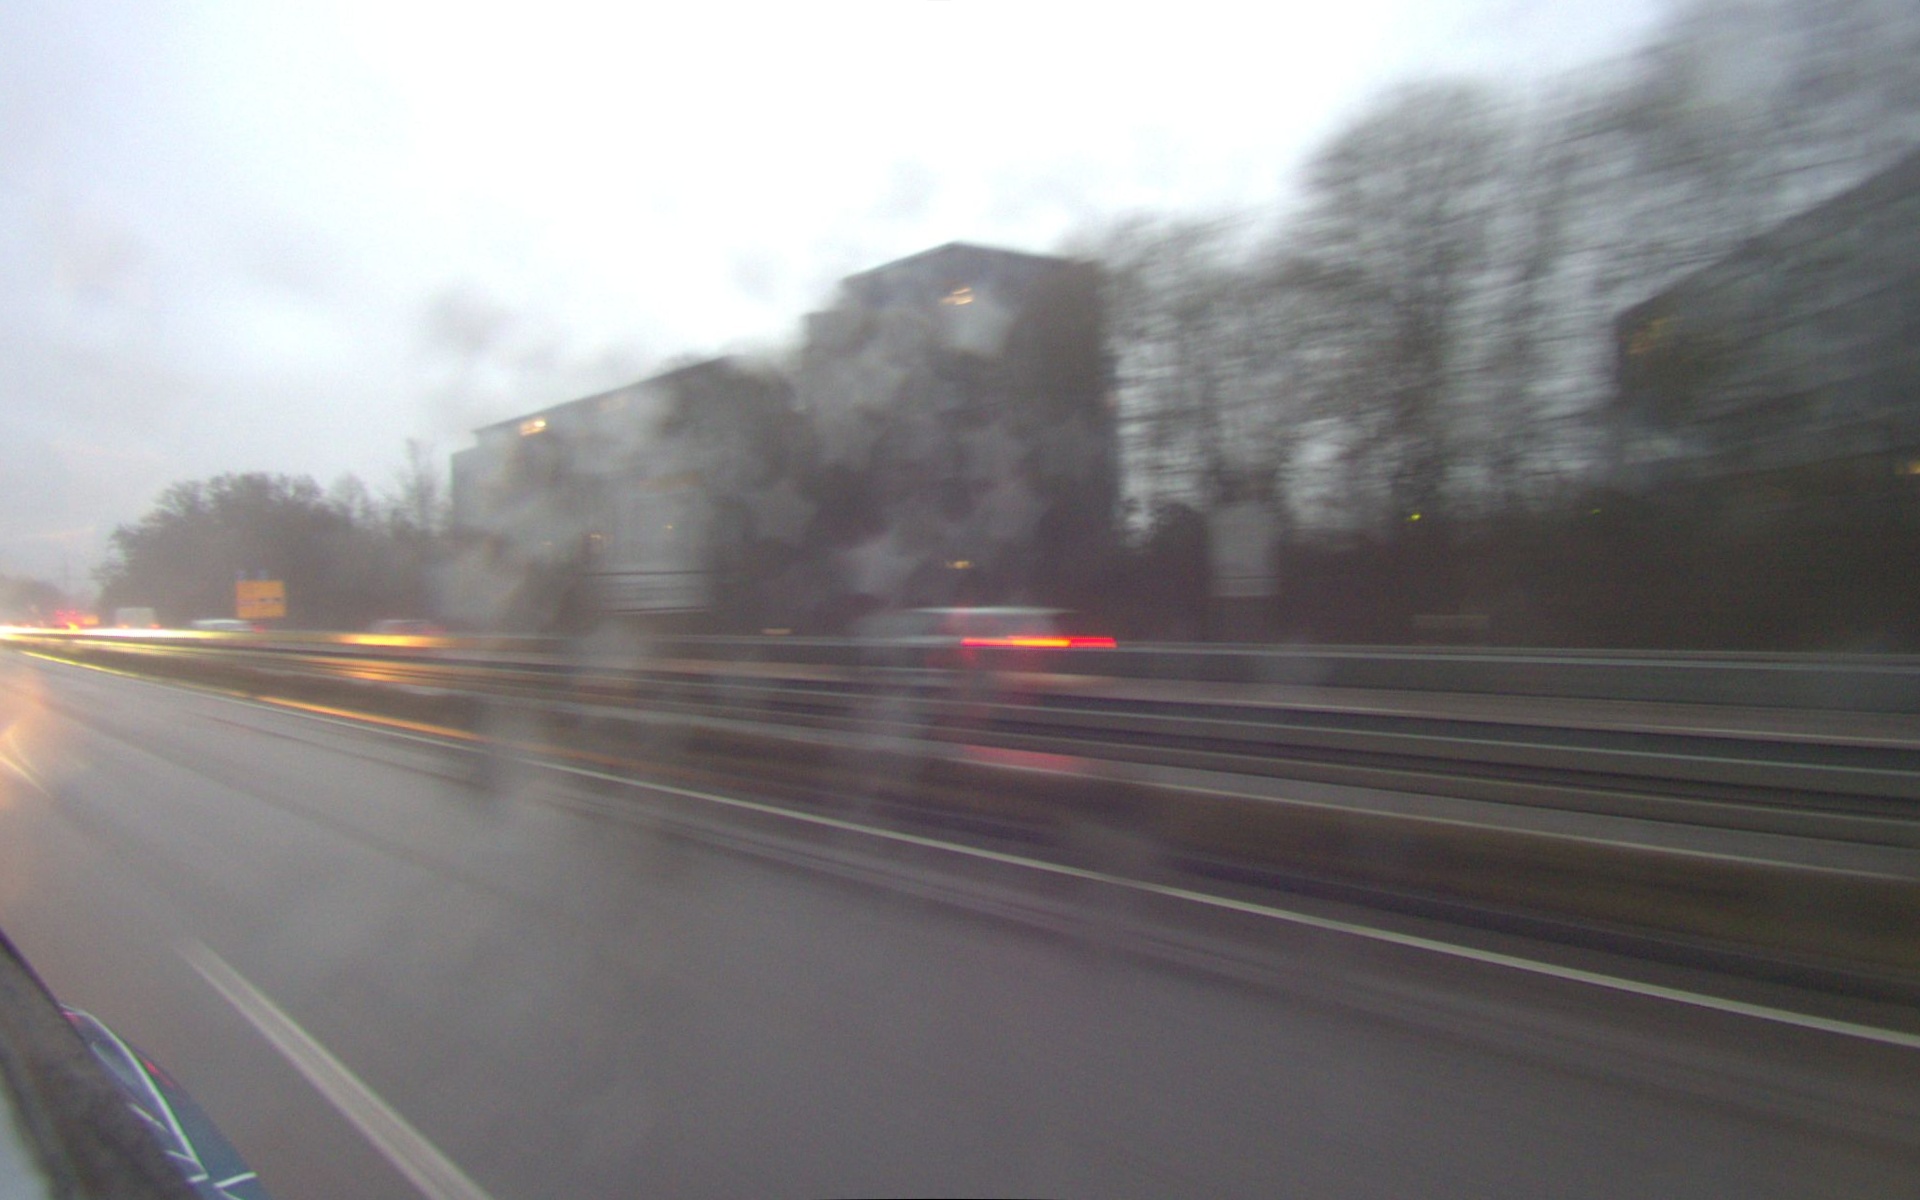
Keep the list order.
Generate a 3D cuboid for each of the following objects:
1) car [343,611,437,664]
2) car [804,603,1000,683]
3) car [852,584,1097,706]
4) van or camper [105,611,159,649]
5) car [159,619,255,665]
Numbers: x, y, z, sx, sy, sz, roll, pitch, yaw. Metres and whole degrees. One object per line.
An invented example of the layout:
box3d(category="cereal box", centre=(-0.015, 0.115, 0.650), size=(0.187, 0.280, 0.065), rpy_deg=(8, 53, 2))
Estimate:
box3d(category="car", centre=(-21.983, 1.406, 38.947), size=(1.970, 1.766, 4.904), rpy_deg=(-4, 2, -43))
box3d(category="car", centre=(-1.434, 0.961, 23.567), size=(4.471, 1.692, 1.972), rpy_deg=(-2, -1, 42))
box3d(category="car", centre=(0.176, 0.721, 17.287), size=(3.938, 1.766, 1.734), rpy_deg=(-2, 2, 41))
box3d(category="van or camper", centre=(-62.822, 2.259, 76.751), size=(7.403, 2.590, 2.054), rpy_deg=(-2, 2, 43))
box3d(category="car", centre=(-29.347, 1.593, 39.391), size=(5.374, 1.537, 1.972), rpy_deg=(-2, 2, 43))
